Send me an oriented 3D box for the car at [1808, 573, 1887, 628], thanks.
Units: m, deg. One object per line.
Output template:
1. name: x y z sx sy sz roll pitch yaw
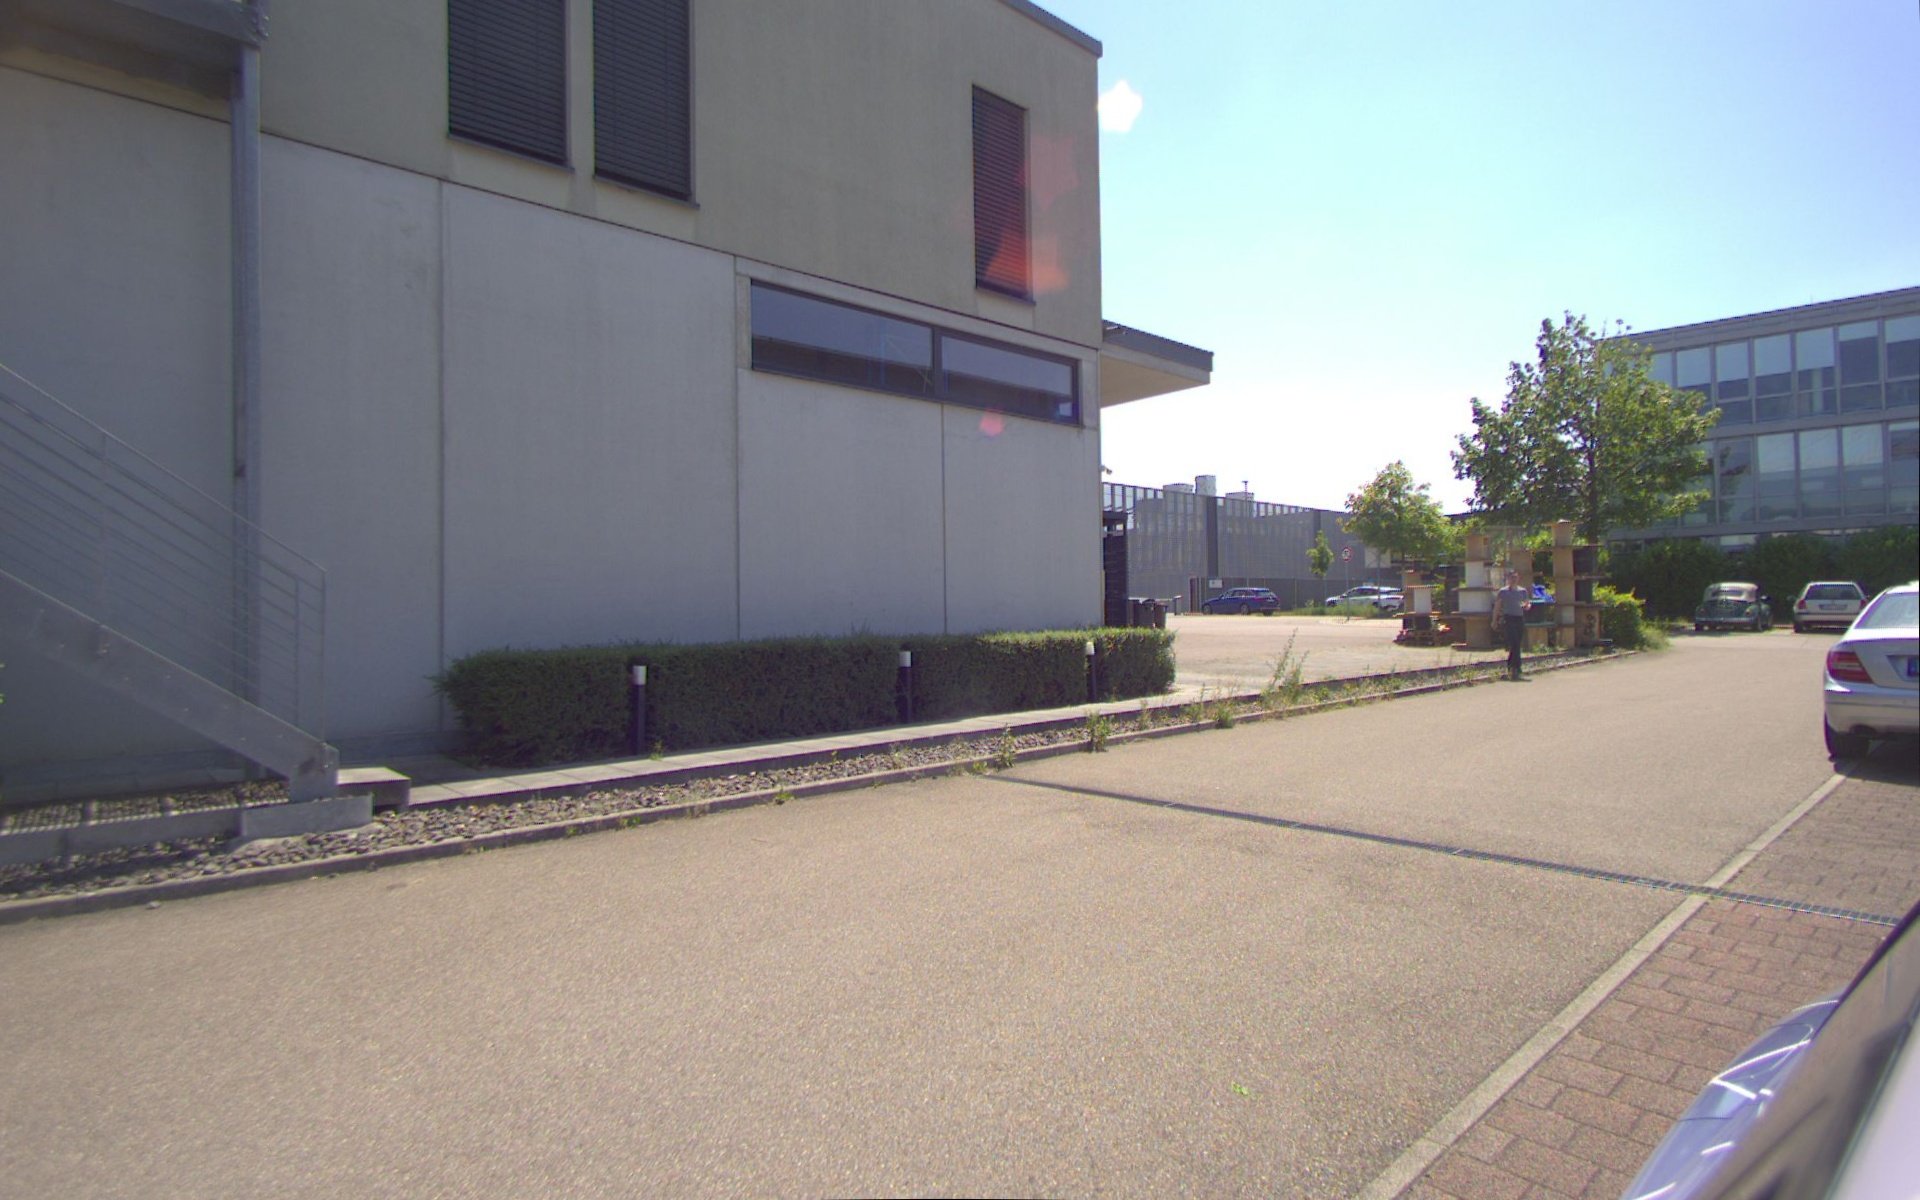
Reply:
1. car: 25.730 -0.021 29.418 1.636 1.470 3.549 0 2 40

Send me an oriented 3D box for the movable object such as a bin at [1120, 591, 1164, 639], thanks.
1. movable object such as a bin: 5.008 0.405 27.891 0.786 1.265 0.877 -2 1 -34

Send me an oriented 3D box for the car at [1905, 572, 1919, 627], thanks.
1. car: 27.638 -0.041 28.216 1.725 1.470 3.549 0 2 40

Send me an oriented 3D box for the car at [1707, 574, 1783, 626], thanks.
1. car: 24.070 -0.043 30.994 1.518 1.463 3.365 0 2 44

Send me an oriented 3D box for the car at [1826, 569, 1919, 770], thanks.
1. car: 8.802 0.470 8.422 4.074 1.475 1.733 -1 1 -39

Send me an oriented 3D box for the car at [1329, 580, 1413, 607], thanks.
1. car: 23.504 -0.375 58.047 1.744 1.494 4.421 -1 0 -26

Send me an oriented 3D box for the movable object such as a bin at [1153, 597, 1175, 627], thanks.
1. movable object such as a bin: 6.505 0.395 32.335 0.579 0.929 0.543 -1 1 23

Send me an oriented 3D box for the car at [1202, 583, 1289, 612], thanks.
1. car: 15.017 -0.125 53.522 1.822 1.427 4.451 -1 0 -29

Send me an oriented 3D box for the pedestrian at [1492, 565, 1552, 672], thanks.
1. pedestrian: 9.635 0.308 17.386 0.801 1.791 0.762 -2 0 26
